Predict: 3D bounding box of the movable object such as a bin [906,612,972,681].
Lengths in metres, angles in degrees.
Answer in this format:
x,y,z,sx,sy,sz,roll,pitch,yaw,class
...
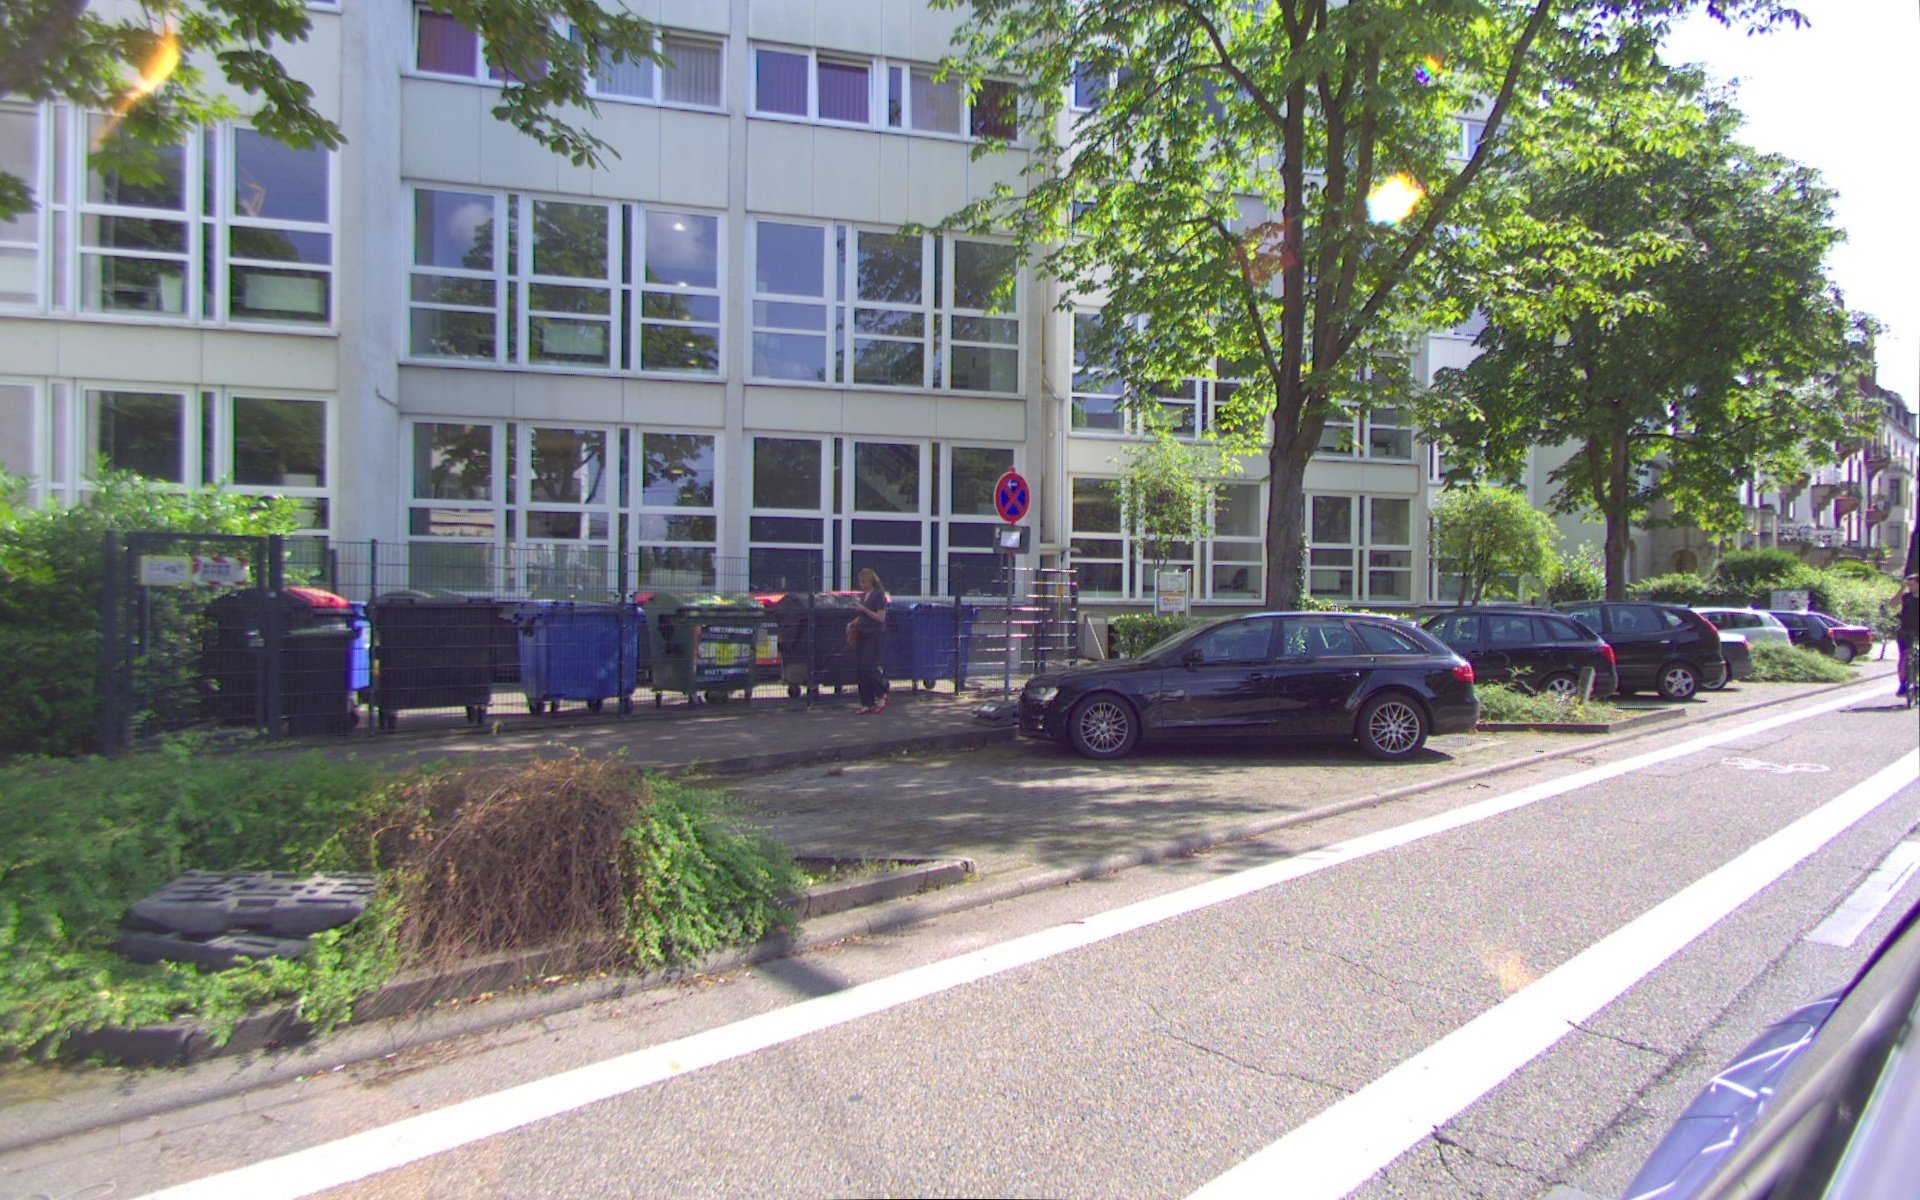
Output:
x,y,z,sx,sy,sz,roll,pitch,yaw,class
-0.379,0.794,17.611,0.910,1.103,1.037,1,3,-15,movable object such as a bin

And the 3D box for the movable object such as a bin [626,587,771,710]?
x,y,z,sx,sy,sz,roll,pitch,yaw,class
-3.330,0.600,12.894,1.274,1.456,1.331,-2,-3,43,movable object such as a bin

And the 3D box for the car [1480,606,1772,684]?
x,y,z,sx,sy,sz,roll,pitch,yaw,class
12.295,0.816,18.944,4.102,1.366,1.902,-1,-1,6,car

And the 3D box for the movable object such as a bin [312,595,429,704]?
x,y,z,sx,sy,sz,roll,pitch,yaw,class
-7.977,0.641,13.763,1.237,1.355,1.216,1,2,-24,movable object such as a bin

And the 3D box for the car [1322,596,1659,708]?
x,y,z,sx,sy,sz,roll,pitch,yaw,class
7.616,0.724,14.876,4.005,1.462,1.723,1,-2,6,car

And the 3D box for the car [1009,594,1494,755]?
x,y,z,sx,sy,sz,roll,pitch,yaw,class
2.785,0.728,10.588,4.456,1.460,2.029,-1,-1,5,car

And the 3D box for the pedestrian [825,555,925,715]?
x,y,z,sx,sy,sz,roll,pitch,yaw,class
-1.062,0.408,12.606,0.983,1.897,0.763,0,0,-34,pedestrian

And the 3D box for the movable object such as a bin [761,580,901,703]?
x,y,z,sx,sy,sz,roll,pitch,yaw,class
-1.757,0.523,13.772,1.443,1.558,1.277,0,0,-40,movable object such as a bin

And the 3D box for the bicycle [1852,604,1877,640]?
x,y,z,sx,sy,sz,roll,pitch,yaw,class
29.779,0.726,33.305,1.975,1.122,0.280,0,4,-40,bicycle

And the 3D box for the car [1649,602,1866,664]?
x,y,z,sx,sy,sz,roll,pitch,yaw,class
19.868,0.784,25.361,3.933,1.467,1.695,0,0,8,car

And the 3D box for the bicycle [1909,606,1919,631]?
x,y,z,sx,sy,sz,roll,pitch,yaw,class
39.093,0.751,41.068,1.839,1.001,0.613,0,3,-41,bicycle

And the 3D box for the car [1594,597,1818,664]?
x,y,z,sx,sy,sz,roll,pitch,yaw,class
17.159,0.675,23.417,3.929,1.479,1.533,0,0,5,car

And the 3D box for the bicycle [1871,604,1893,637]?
x,y,z,sx,sy,sz,roll,pitch,yaw,class
32.401,0.704,35.557,1.975,1.122,0.280,0,4,-40,bicycle

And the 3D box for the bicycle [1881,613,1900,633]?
x,y,z,sx,sy,sz,roll,pitch,yaw,class
33.827,0.831,36.776,1.531,0.685,0.280,0,4,-40,bicycle

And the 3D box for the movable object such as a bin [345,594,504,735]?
x,y,z,sx,sy,sz,roll,pitch,yaw,class
-5.636,0.627,10.633,1.215,1.353,1.276,0,-1,-41,movable object such as a bin

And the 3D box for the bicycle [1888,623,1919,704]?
x,y,z,sx,sy,sz,roll,pitch,yaw,class
14.665,0.951,15.342,1.804,1.057,0.617,-3,5,-40,bicycle

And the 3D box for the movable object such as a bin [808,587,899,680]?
x,y,z,sx,sy,sz,roll,pitch,yaw,class
-1.826,0.541,17.128,1.237,1.465,1.383,1,2,-18,movable object such as a bin

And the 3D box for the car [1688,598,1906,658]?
x,y,z,sx,sy,sz,roll,pitch,yaw,class
22.383,0.706,27.210,4.090,1.441,1.863,1,1,8,car

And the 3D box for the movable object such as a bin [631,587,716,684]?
x,y,z,sx,sy,sz,roll,pitch,yaw,class
-4.658,0.547,16.407,1.237,1.465,1.383,1,2,-18,movable object such as a bin

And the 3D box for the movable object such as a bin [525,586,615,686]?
x,y,z,sx,sy,sz,roll,pitch,yaw,class
-6.158,0.546,16.070,1.237,1.465,1.383,1,2,-18,movable object such as a bin

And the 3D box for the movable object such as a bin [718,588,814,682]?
x,y,z,sx,sy,sz,roll,pitch,yaw,class
-3.213,0.548,16.656,1.422,1.474,1.212,-1,0,-16,movable object such as a bin

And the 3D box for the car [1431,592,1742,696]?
x,y,z,sx,sy,sz,roll,pitch,yaw,class
10.257,0.706,16.881,3.933,1.595,1.900,-1,-1,9,car

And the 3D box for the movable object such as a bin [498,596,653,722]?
x,y,z,sx,sy,sz,roll,pitch,yaw,class
-4.502,0.645,11.825,1.335,1.353,1.277,0,-1,-41,movable object such as a bin

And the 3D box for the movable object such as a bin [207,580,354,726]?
x,y,z,sx,sy,sz,roll,pitch,yaw,class
-7.432,0.562,11.147,0.918,1.500,1.270,1,-1,-12,movable object such as a bin

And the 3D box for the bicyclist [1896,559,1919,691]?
x,y,z,sx,sy,sz,roll,pitch,yaw,class
14.864,0.374,15.504,1.110,1.973,0.608,0,-1,-40,bicyclist

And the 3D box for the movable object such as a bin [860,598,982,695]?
x,y,z,sx,sy,sz,roll,pitch,yaw,class
-0.582,0.647,14.942,1.302,1.335,1.277,0,0,-40,movable object such as a bin
